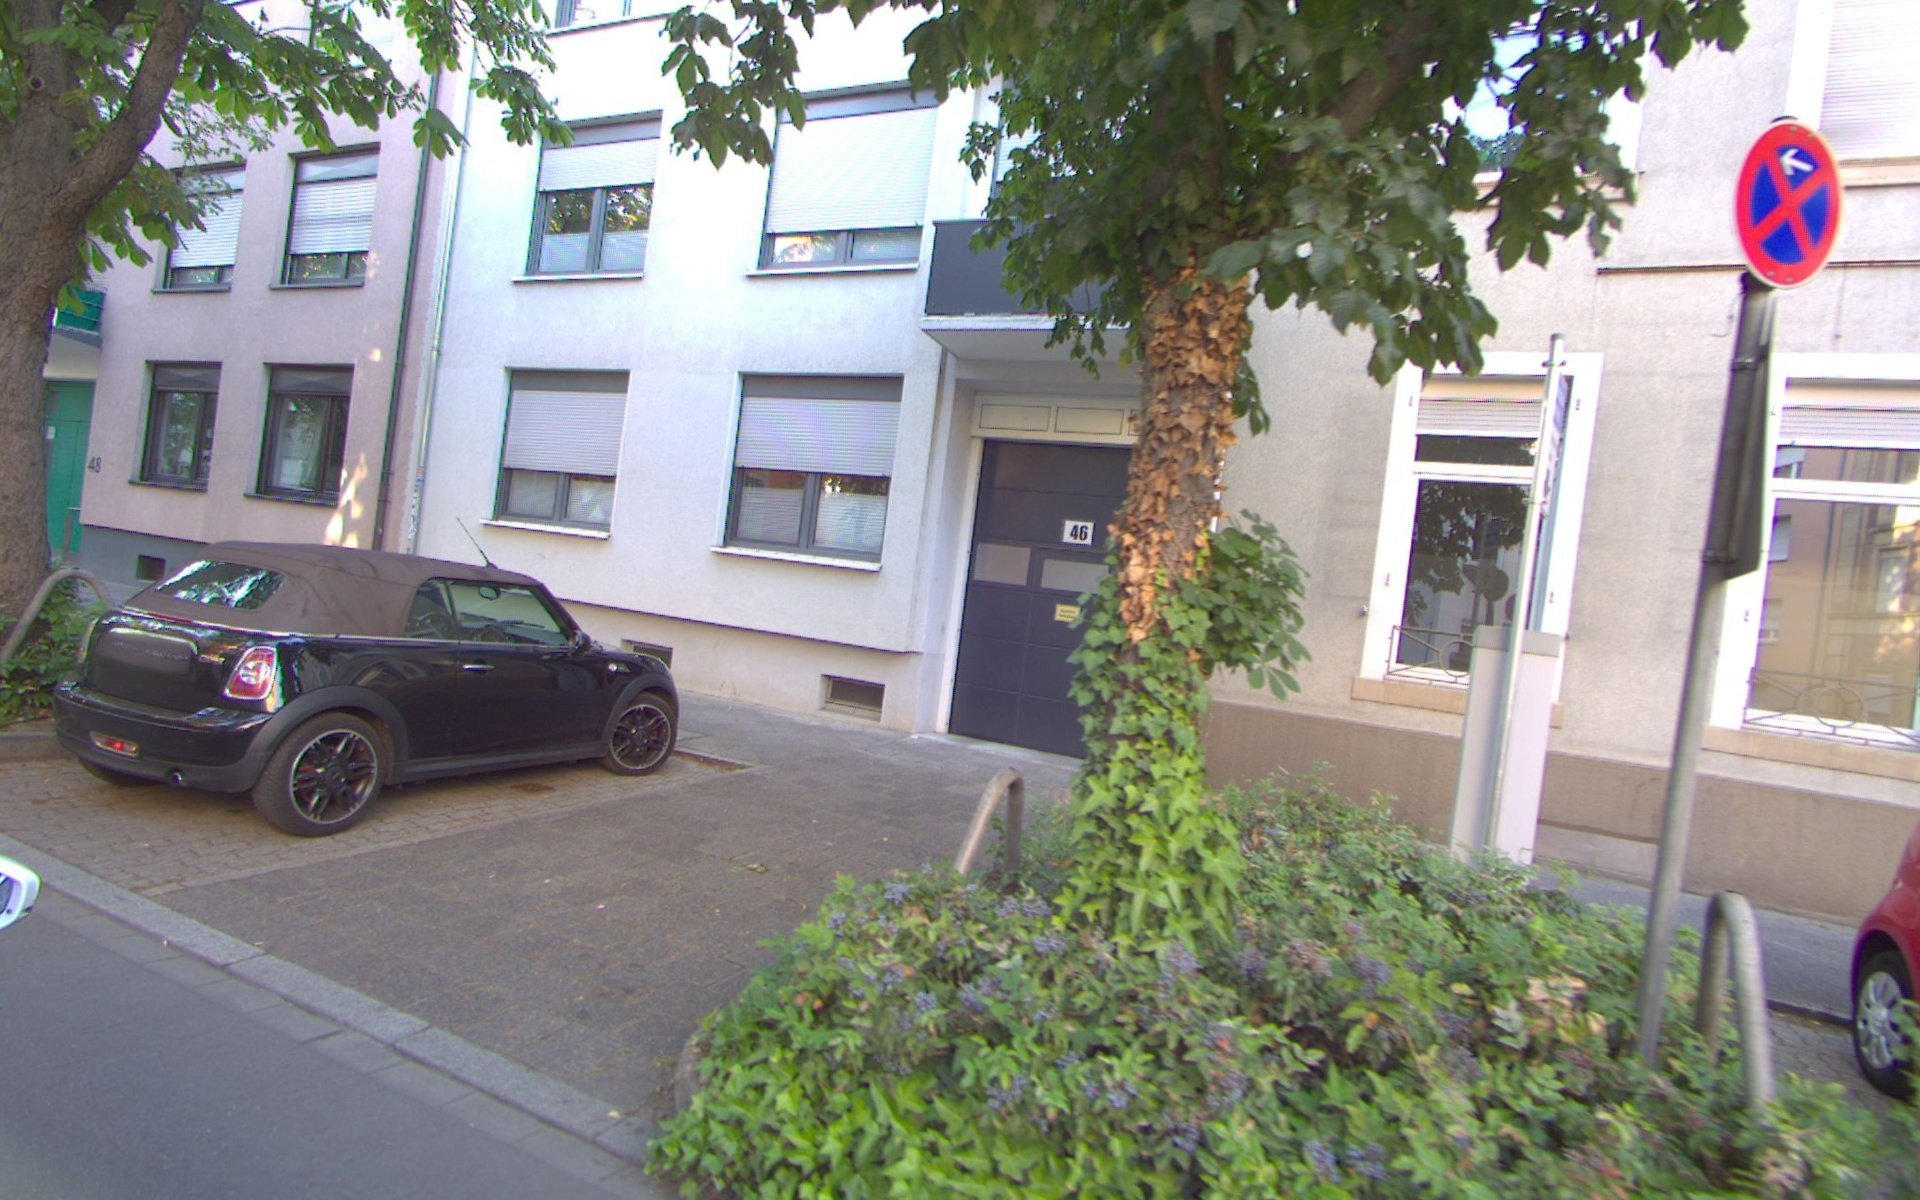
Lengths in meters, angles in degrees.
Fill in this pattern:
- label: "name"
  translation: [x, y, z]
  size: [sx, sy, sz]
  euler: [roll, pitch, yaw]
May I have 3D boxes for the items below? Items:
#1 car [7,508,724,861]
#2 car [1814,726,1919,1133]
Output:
- label: "car"
  translation: [-3.320, 0.390, 6.474]
  size: [1.597, 1.446, 3.711]
  euler: [7, 2, 21]
- label: "car"
  translation: [4.103, 1.318, 2.753]
  size: [1.537, 1.494, 3.666]
  euler: [7, 0, 24]
